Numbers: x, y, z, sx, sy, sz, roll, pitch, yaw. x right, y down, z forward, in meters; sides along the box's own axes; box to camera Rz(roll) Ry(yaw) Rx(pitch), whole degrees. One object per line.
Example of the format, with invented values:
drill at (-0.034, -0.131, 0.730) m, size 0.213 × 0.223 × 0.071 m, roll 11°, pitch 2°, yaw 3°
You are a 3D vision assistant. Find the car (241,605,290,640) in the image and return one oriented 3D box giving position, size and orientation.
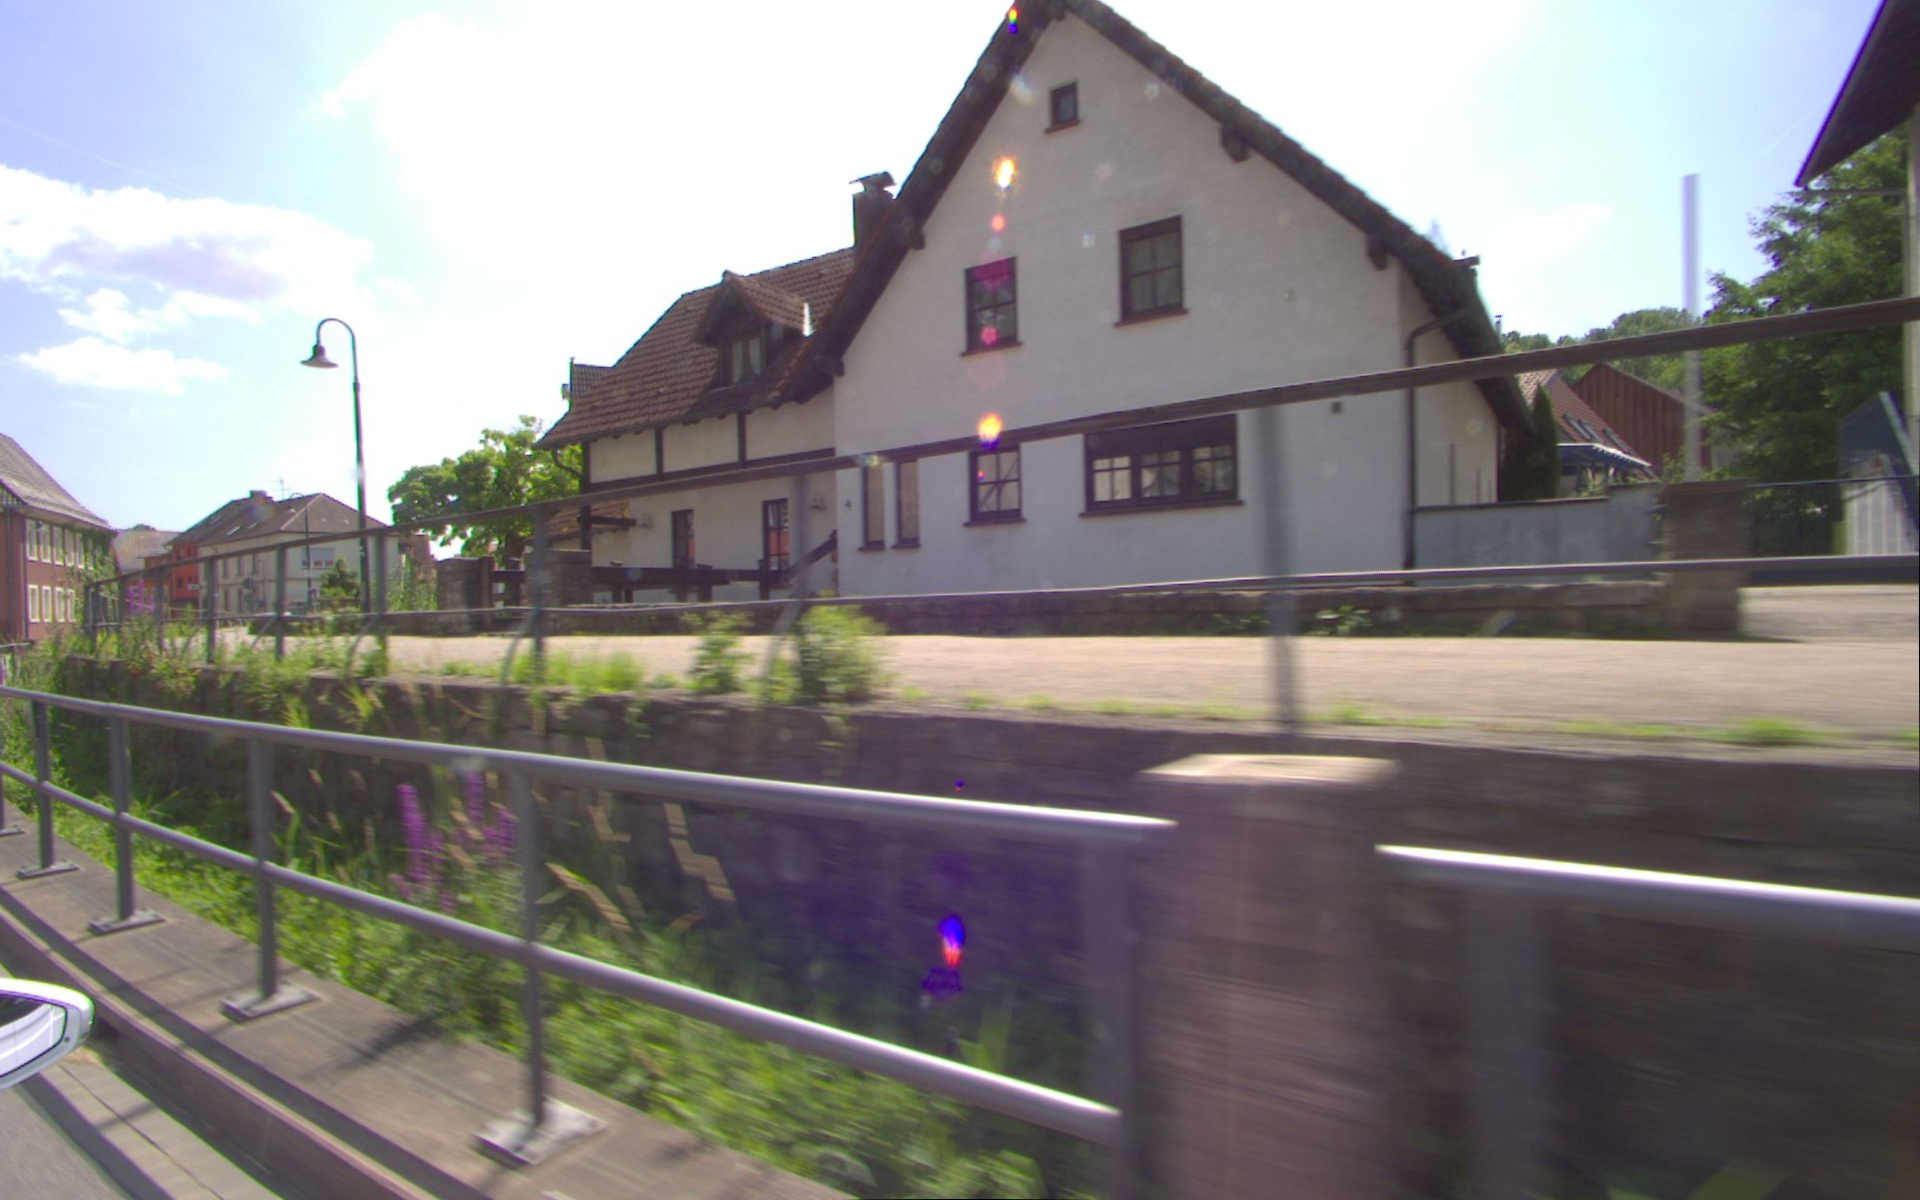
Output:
car at (-43.199, 1.385, 62.368) m, size 1.873 × 2.007 × 3.102 m, roll -3°, pitch 1°, yaw -25°

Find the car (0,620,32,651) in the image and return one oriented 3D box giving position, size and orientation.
car at (-46.510, 1.611, 47.287) m, size 3.526 × 1.424 × 1.644 m, roll 4°, pitch -2°, yaw -29°
